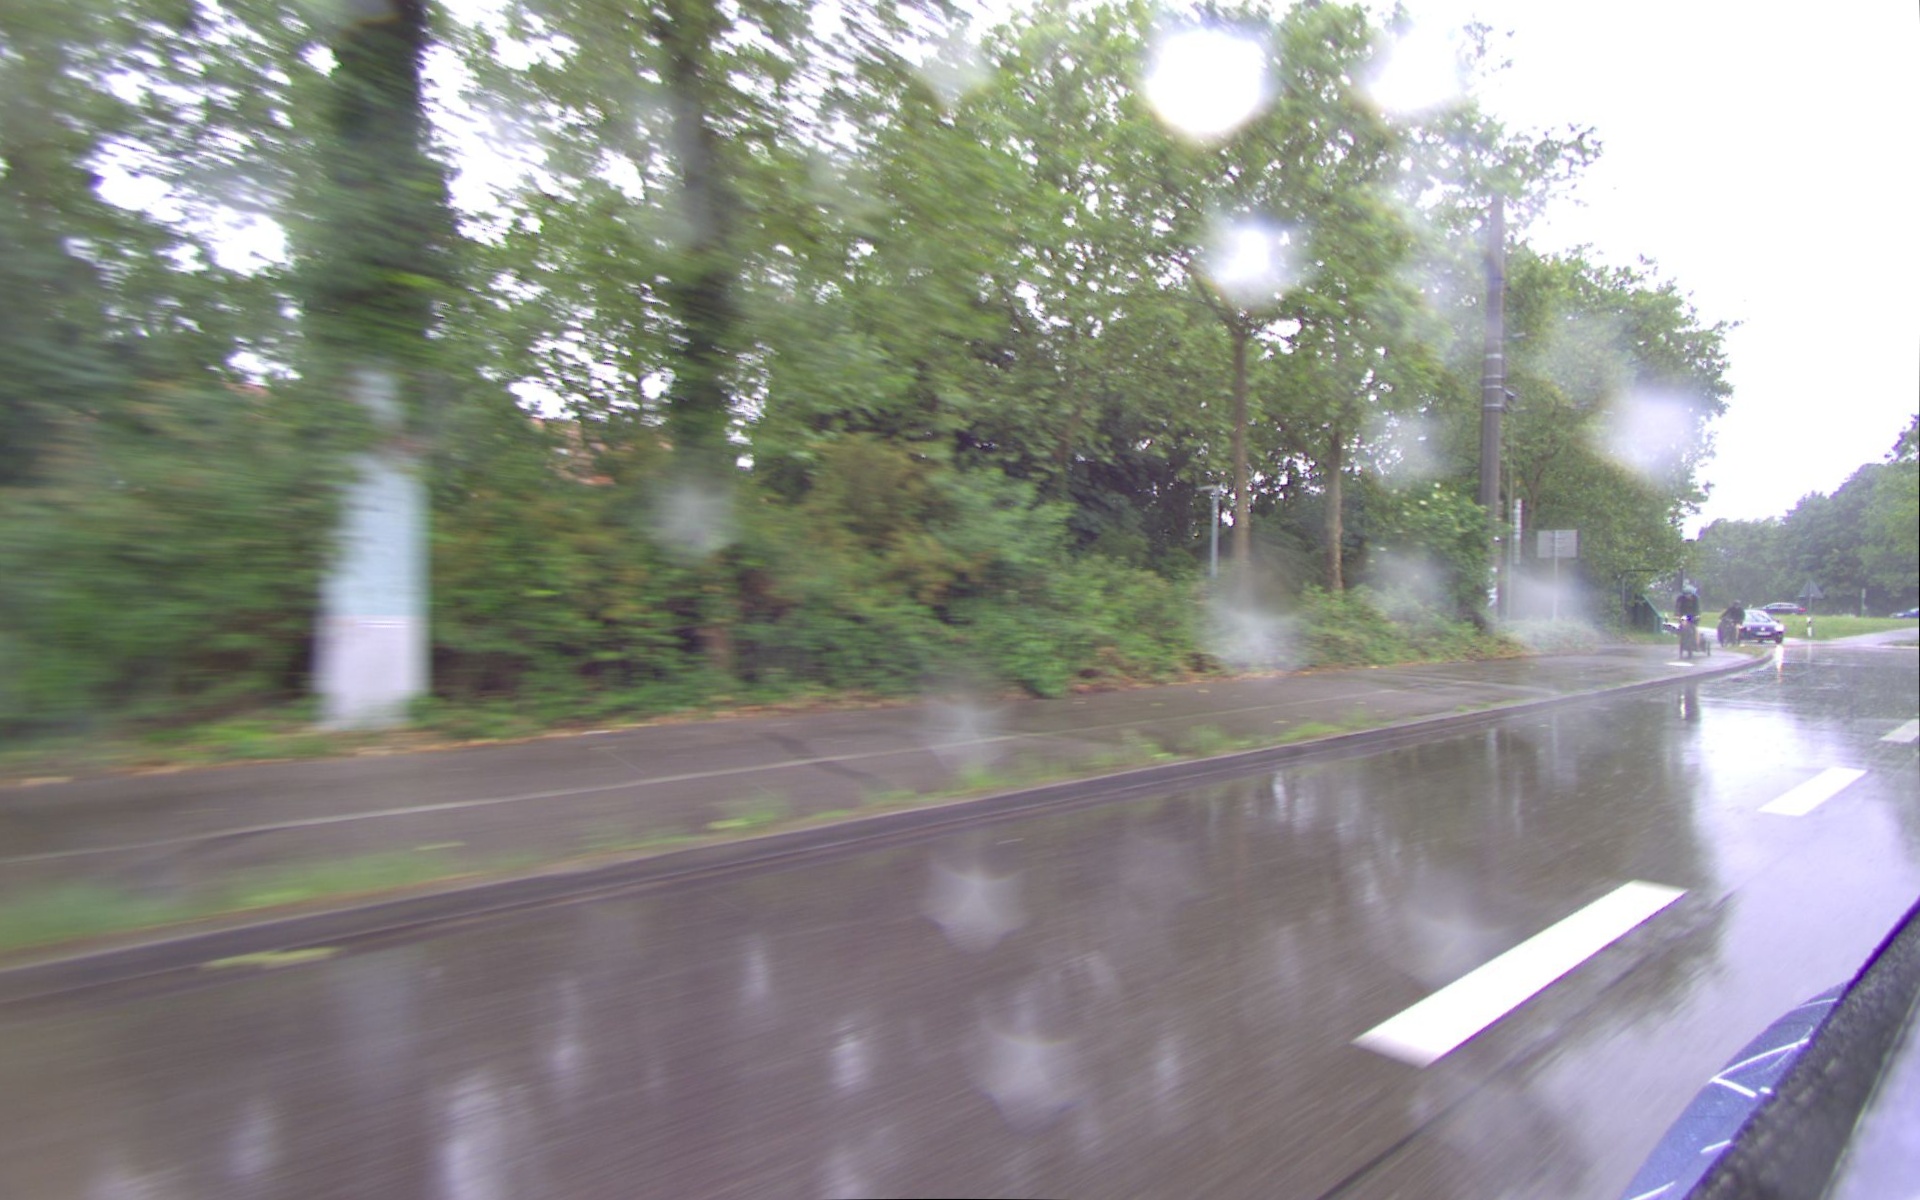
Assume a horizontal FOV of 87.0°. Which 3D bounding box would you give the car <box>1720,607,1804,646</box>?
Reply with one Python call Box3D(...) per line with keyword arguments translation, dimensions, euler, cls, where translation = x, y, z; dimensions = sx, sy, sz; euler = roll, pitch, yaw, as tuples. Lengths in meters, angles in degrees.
Box3D(translation=(36.046, 1.141, 45.603), dimensions=(1.848, 1.556, 4.480), euler=(0, 1, 24), cls="car")
